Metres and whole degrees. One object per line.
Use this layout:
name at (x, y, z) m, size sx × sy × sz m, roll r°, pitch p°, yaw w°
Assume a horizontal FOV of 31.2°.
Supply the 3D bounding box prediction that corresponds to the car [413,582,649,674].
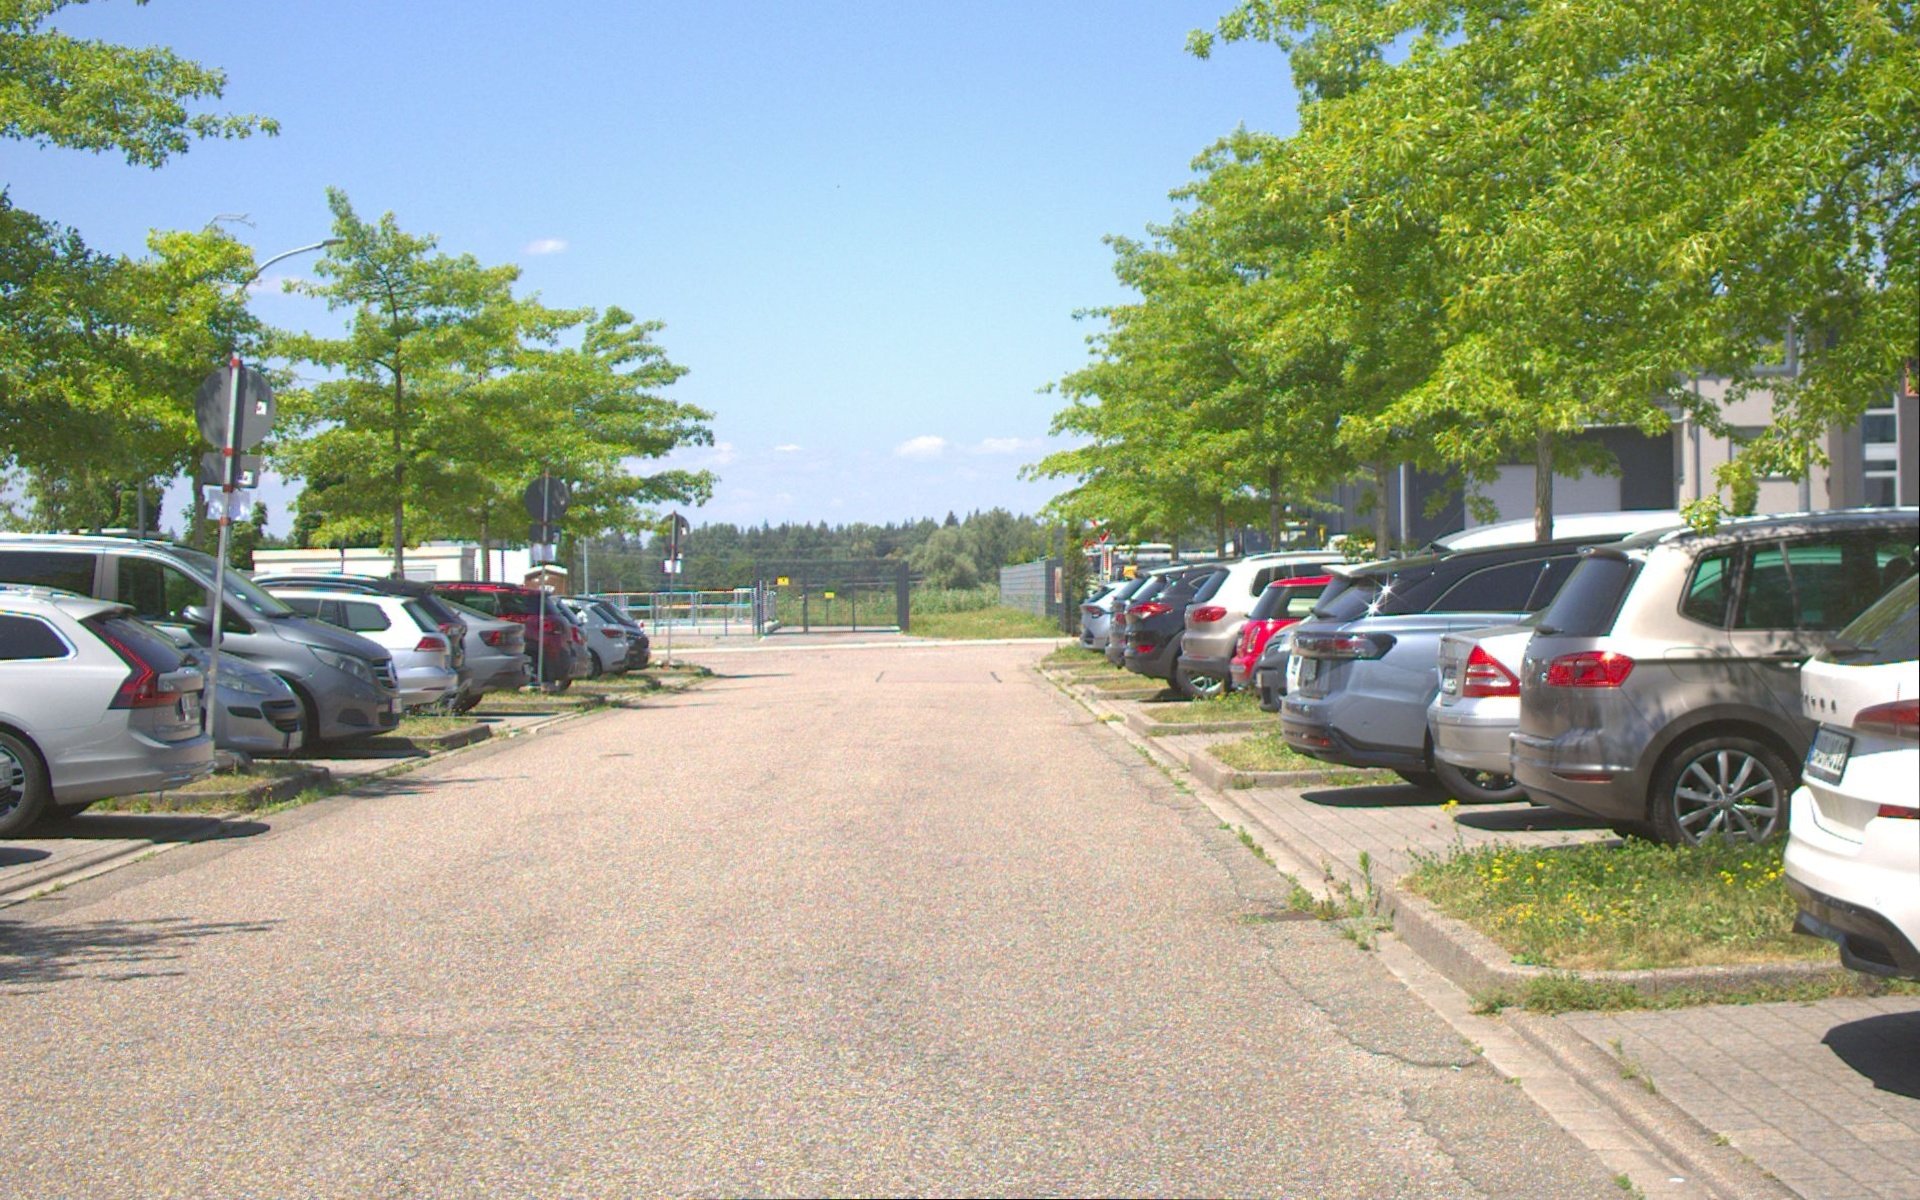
car at (-7.418, 0.478, 59.684) m, size 3.927 × 1.515 × 1.785 m, roll 1°, pitch 0°, yaw -3°

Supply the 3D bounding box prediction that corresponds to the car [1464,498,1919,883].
car at (4.540, 0.337, 16.077) m, size 4.047 × 1.619 × 1.693 m, roll -3°, pitch 0°, yaw 0°

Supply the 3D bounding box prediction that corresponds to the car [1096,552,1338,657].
car at (4.450, 0.079, 59.864) m, size 3.987 × 1.638 × 1.838 m, roll -2°, pitch 0°, yaw -1°

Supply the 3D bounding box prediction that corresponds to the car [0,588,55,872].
car at (-7.180, 0.662, 18.255) m, size 4.310 × 1.468 × 1.728 m, roll 1°, pitch 1°, yaw -2°

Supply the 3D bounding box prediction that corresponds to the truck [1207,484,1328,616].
truck at (9.558, -1.529, 107.438) m, size 2.921 × 3.916 × 6.936 m, roll -2°, pitch 0°, yaw -1°

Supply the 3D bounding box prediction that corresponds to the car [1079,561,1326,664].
car at (4.370, 0.226, 62.409) m, size 4.279 × 1.638 × 1.851 m, roll -3°, pitch 0°, yaw 0°

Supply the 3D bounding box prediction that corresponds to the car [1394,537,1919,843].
car at (4.508, 0.425, 18.621) m, size 4.047 × 1.448 × 1.645 m, roll -3°, pitch 0°, yaw 0°

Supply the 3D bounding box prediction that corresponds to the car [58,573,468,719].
car at (-7.310, 0.473, 36.321) m, size 4.036 × 1.456 × 1.604 m, roll 1°, pitch 0°, yaw -3°

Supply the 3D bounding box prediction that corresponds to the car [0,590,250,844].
car at (-6.806, 0.663, 20.735) m, size 4.712 × 1.442 × 1.858 m, roll 0°, pitch 1°, yaw -3°

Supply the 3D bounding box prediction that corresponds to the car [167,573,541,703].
car at (-7.265, 0.449, 41.498) m, size 4.193 × 1.475 × 1.713 m, roll 1°, pitch 0°, yaw 0°

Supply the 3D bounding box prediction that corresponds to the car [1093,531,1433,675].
car at (4.195, 0.039, 48.076) m, size 4.448 × 1.762 × 1.993 m, roll -3°, pitch 0°, yaw -2°

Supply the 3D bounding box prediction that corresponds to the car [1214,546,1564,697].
car at (4.551, 0.218, 36.835) m, size 3.457 × 1.412 × 1.755 m, roll -3°, pitch 0°, yaw -1°

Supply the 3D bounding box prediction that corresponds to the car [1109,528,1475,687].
car at (3.985, 0.084, 41.766) m, size 4.173 × 1.690 × 1.782 m, roll -3°, pitch 0°, yaw -1°

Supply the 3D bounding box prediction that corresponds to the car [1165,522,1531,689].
car at (4.359, 0.056, 39.058) m, size 3.875 × 1.672 × 1.782 m, roll -3°, pitch 0°, yaw 0°

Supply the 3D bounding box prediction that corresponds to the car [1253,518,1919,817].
car at (4.325, 0.360, 21.128) m, size 4.715 × 1.555 × 1.914 m, roll -3°, pitch 0°, yaw -4°

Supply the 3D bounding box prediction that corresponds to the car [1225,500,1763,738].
car at (4.650, 0.157, 30.409) m, size 4.403 × 1.823 × 1.795 m, roll -3°, pitch 0°, yaw 1°

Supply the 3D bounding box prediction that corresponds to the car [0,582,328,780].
car at (-7.203, 0.611, 27.456) m, size 3.968 × 1.479 × 1.764 m, roll 1°, pitch 0°, yaw 0°

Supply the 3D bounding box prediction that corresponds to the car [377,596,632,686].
car at (-7.536, 0.670, 57.206) m, size 4.075 × 1.419 × 1.874 m, roll 1°, pitch 0°, yaw -4°

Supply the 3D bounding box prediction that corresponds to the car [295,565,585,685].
car at (-7.190, 0.335, 47.749) m, size 3.737 × 1.616 × 1.816 m, roll 0°, pitch 0°, yaw 1°

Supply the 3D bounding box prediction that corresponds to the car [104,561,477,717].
car at (-7.555, 0.434, 39.092) m, size 3.986 × 1.673 × 1.777 m, roll 1°, pitch 0°, yaw -5°

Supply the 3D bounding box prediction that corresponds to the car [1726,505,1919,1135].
car at (4.147, 0.466, 9.233) m, size 3.835 × 1.548 × 1.779 m, roll -2°, pitch 1°, yaw 5°

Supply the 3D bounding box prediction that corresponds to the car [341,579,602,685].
car at (-7.116, 0.453, 50.364) m, size 3.656 × 1.503 × 1.731 m, roll 0°, pitch 0°, yaw -4°

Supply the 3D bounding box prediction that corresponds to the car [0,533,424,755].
car at (-7.437, 0.361, 30.373) m, size 5.070 × 1.885 × 1.997 m, roll 0°, pitch 0°, yaw 1°

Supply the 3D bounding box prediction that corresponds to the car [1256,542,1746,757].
car at (4.307, 0.385, 27.742) m, size 3.631 × 1.498 × 1.676 m, roll -3°, pitch 0°, yaw 1°

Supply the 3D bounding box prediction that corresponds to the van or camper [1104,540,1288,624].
van or camper at (6.559, -0.518, 95.936) m, size 4.936 × 2.156 × 2.000 m, roll -2°, pitch 1°, yaw -1°
